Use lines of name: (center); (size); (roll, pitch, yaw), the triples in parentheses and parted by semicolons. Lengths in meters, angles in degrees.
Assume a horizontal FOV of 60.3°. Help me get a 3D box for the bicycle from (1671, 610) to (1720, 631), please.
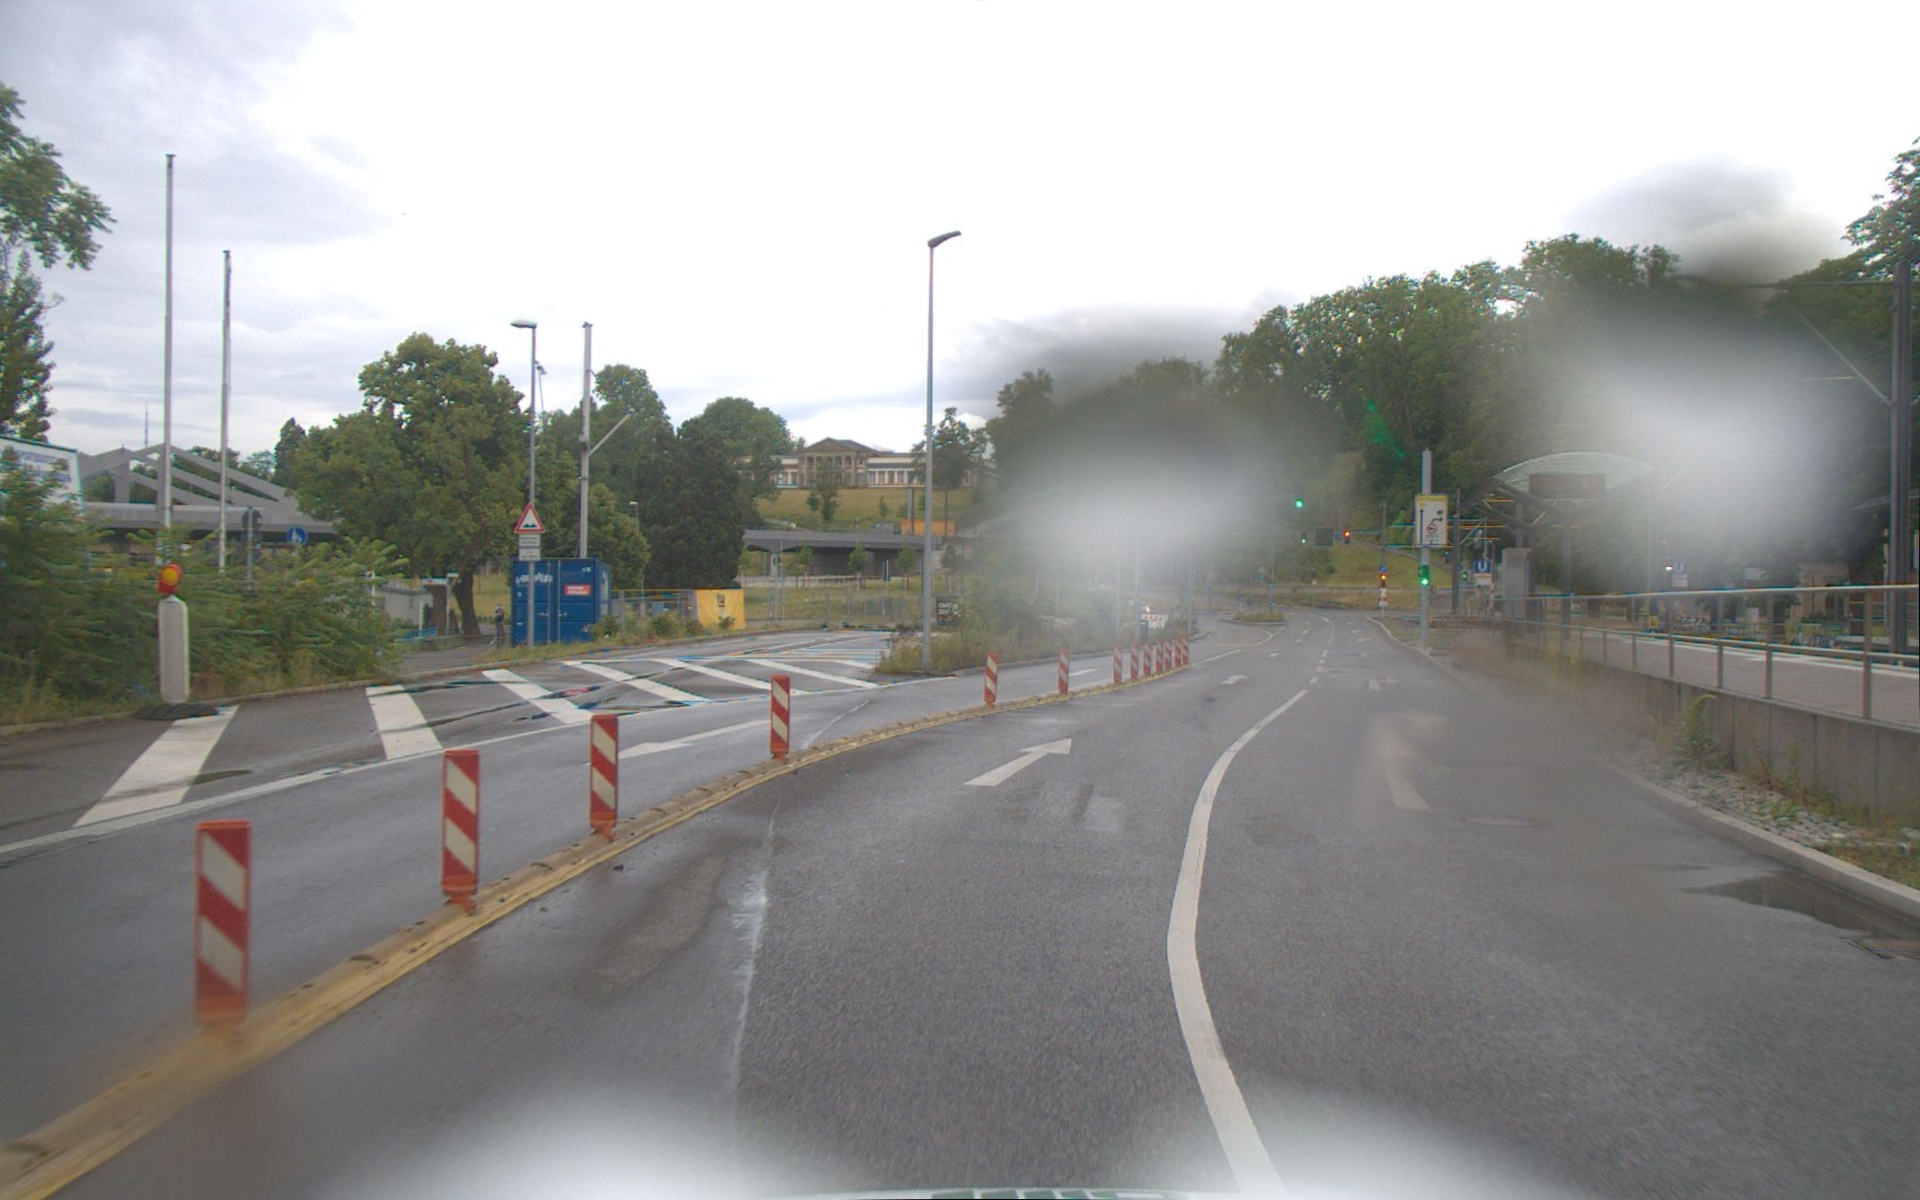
bicycle: (37.880, 1.063, 85.180); (2.175, 1.050, 0.690); (0, 0, 11)

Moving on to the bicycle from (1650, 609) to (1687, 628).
bicycle: (39.518, 1.023, 92.273); (1.771, 1.050, 0.653); (0, 0, 11)

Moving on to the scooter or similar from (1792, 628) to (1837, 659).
scooter or similar: (33.274, 1.688, 64.411); (1.510, 1.156, 0.432); (0, 0, 12)

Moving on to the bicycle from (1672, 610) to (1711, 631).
bicycle: (38.037, 1.046, 86.042); (1.771, 1.050, 0.653); (0, 0, 11)

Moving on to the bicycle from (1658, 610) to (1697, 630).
bicycle: (38.406, 1.047, 88.552); (1.771, 1.050, 0.653); (0, 0, 11)

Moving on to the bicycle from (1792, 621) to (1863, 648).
bicycle: (32.045, 1.284, 61.109); (2.272, 0.974, 0.570); (0, 0, 12)

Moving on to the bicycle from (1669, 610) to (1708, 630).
bicycle: (38.279, 1.052, 86.908); (1.771, 1.050, 0.653); (0, 0, 11)
